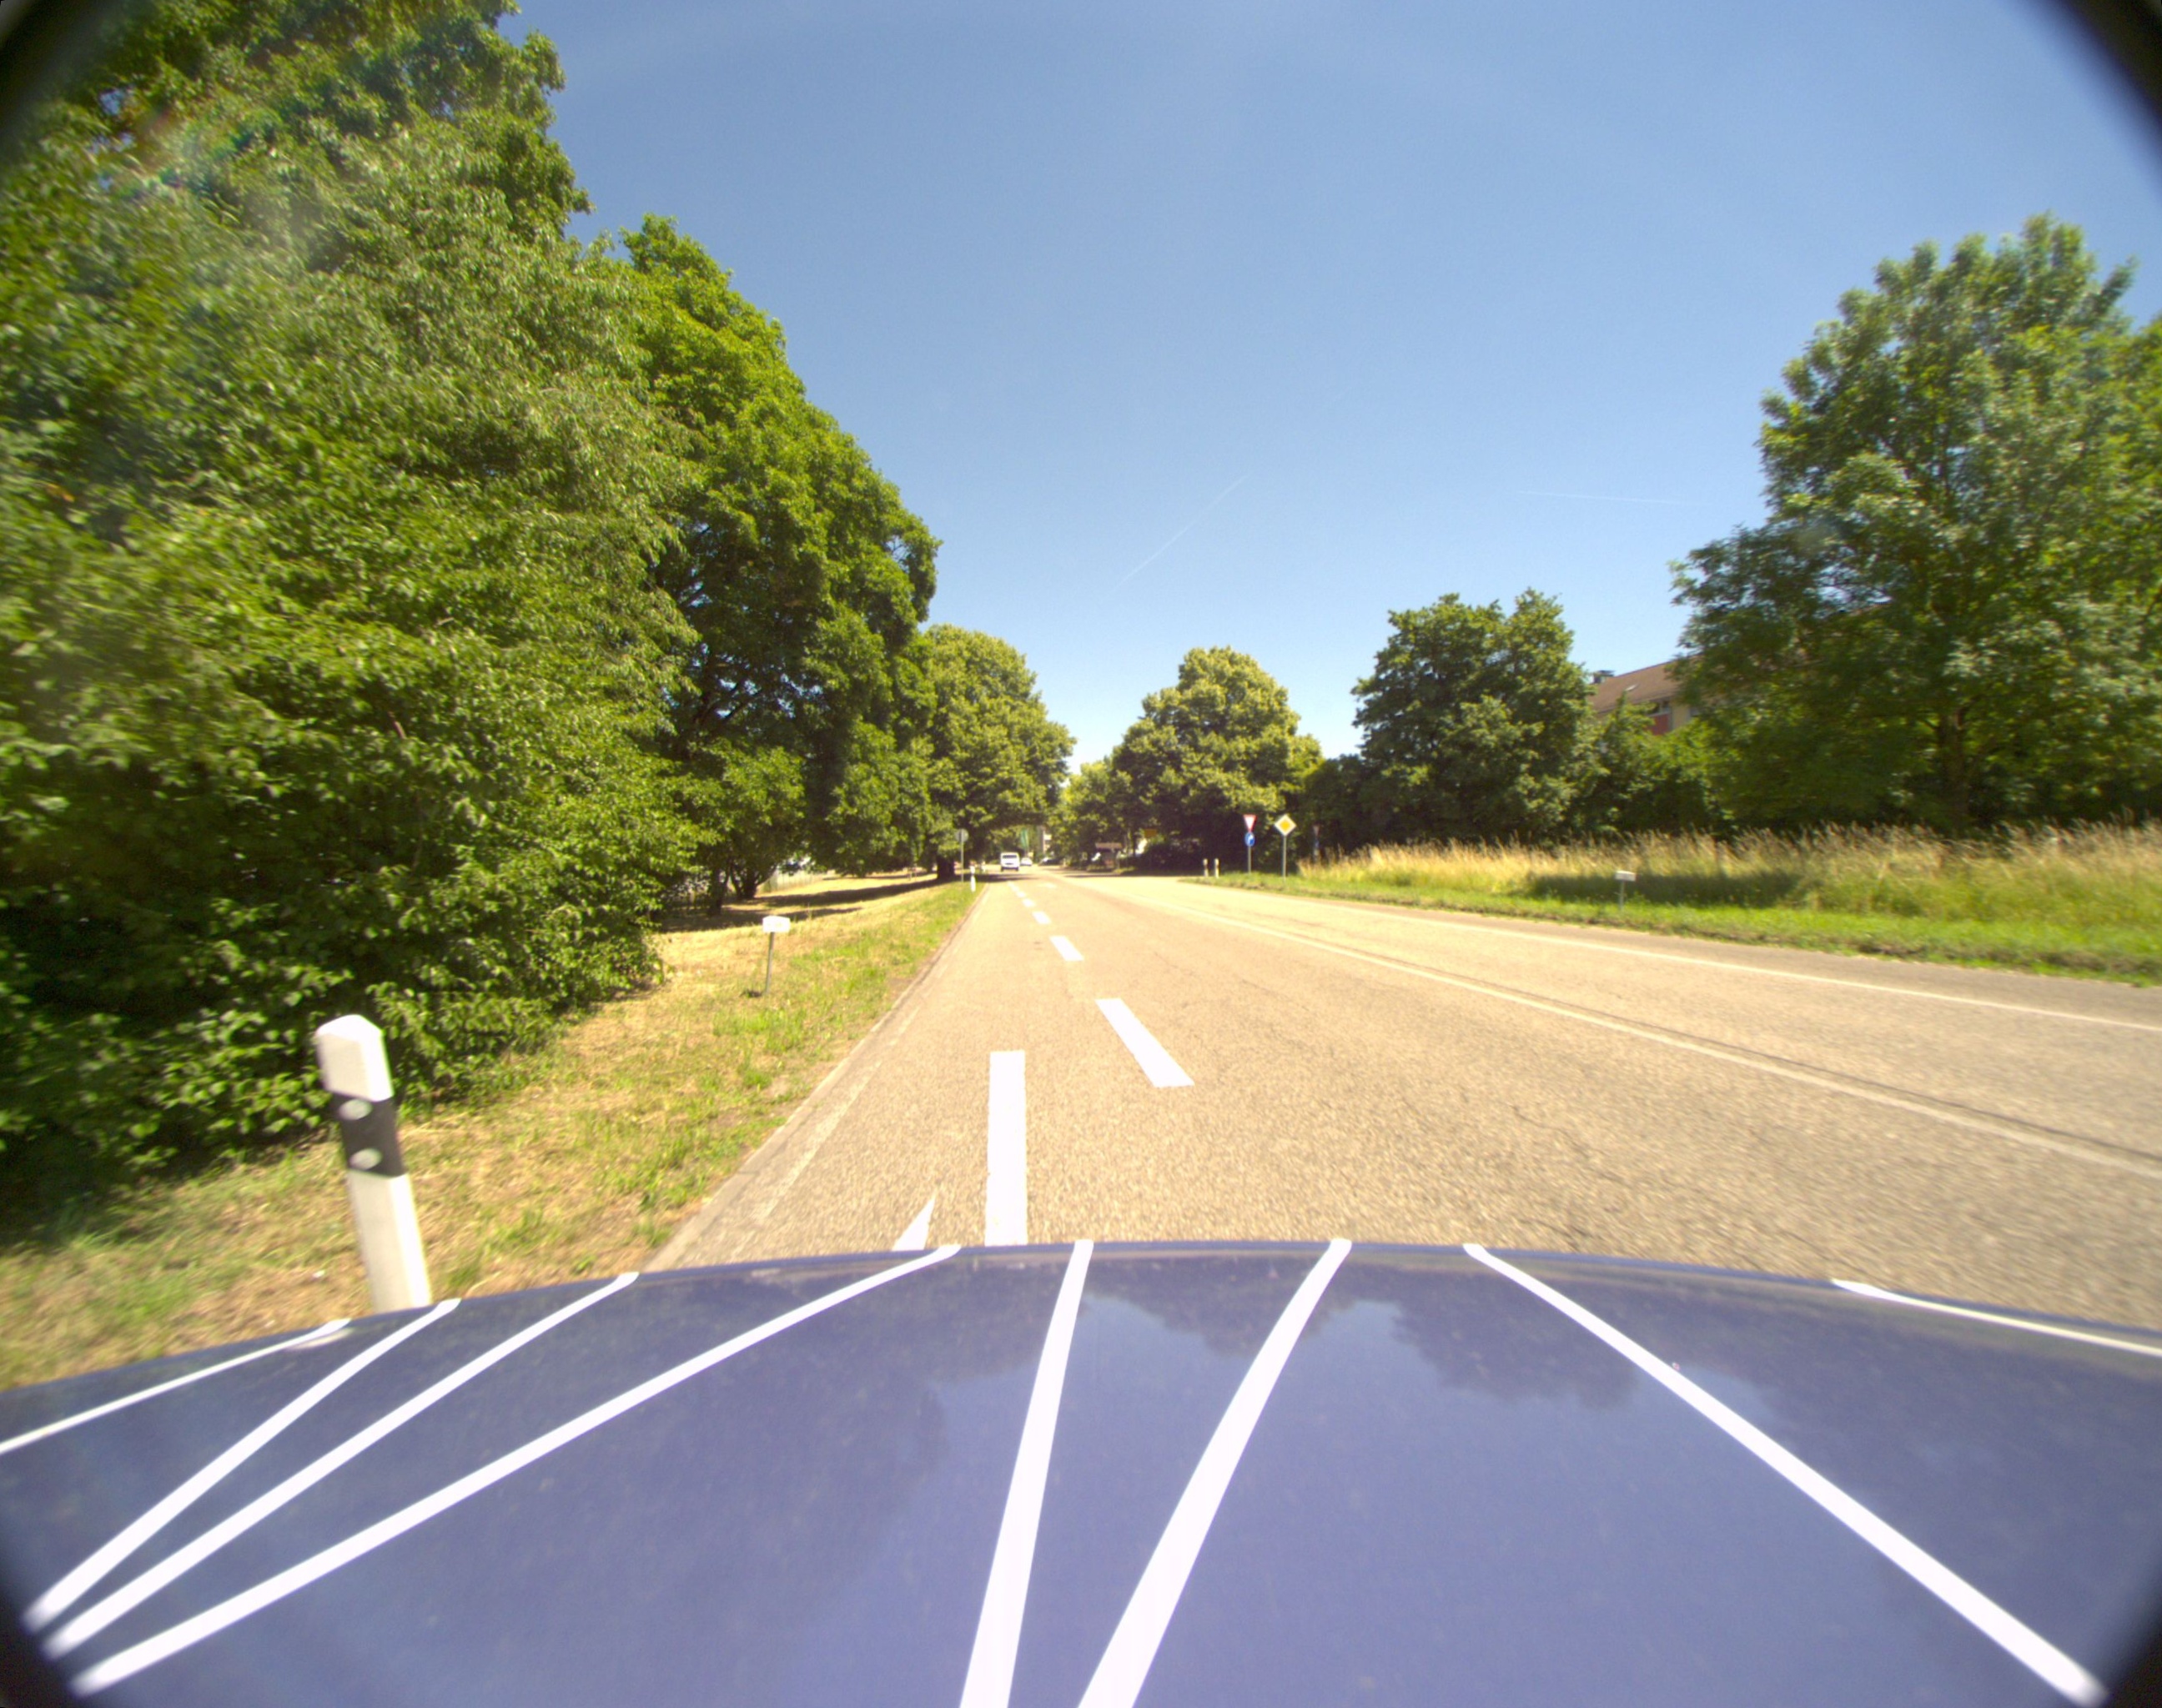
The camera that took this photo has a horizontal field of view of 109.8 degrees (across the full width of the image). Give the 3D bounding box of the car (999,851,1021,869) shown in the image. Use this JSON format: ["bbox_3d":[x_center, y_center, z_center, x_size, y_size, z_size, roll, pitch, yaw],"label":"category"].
[{"bbox_3d":[-7.635,0.629,81.686,1.798,1.904,3.636,-1,0,-14],"label":"car"}]

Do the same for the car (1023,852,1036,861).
[{"bbox_3d":[-9.753,0.484,144.196,2.100,1.579,4.472,-3,1,-7],"label":"car"}]

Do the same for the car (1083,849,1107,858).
[{"bbox_3d":[2.579,-0.125,139.303,4.193,1.438,1.980,-3,0,4],"label":"car"}]

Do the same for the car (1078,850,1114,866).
[{"bbox_3d":[2.003,0.524,102.089,4.371,1.969,1.903,-2,1,-10],"label":"car"}]
